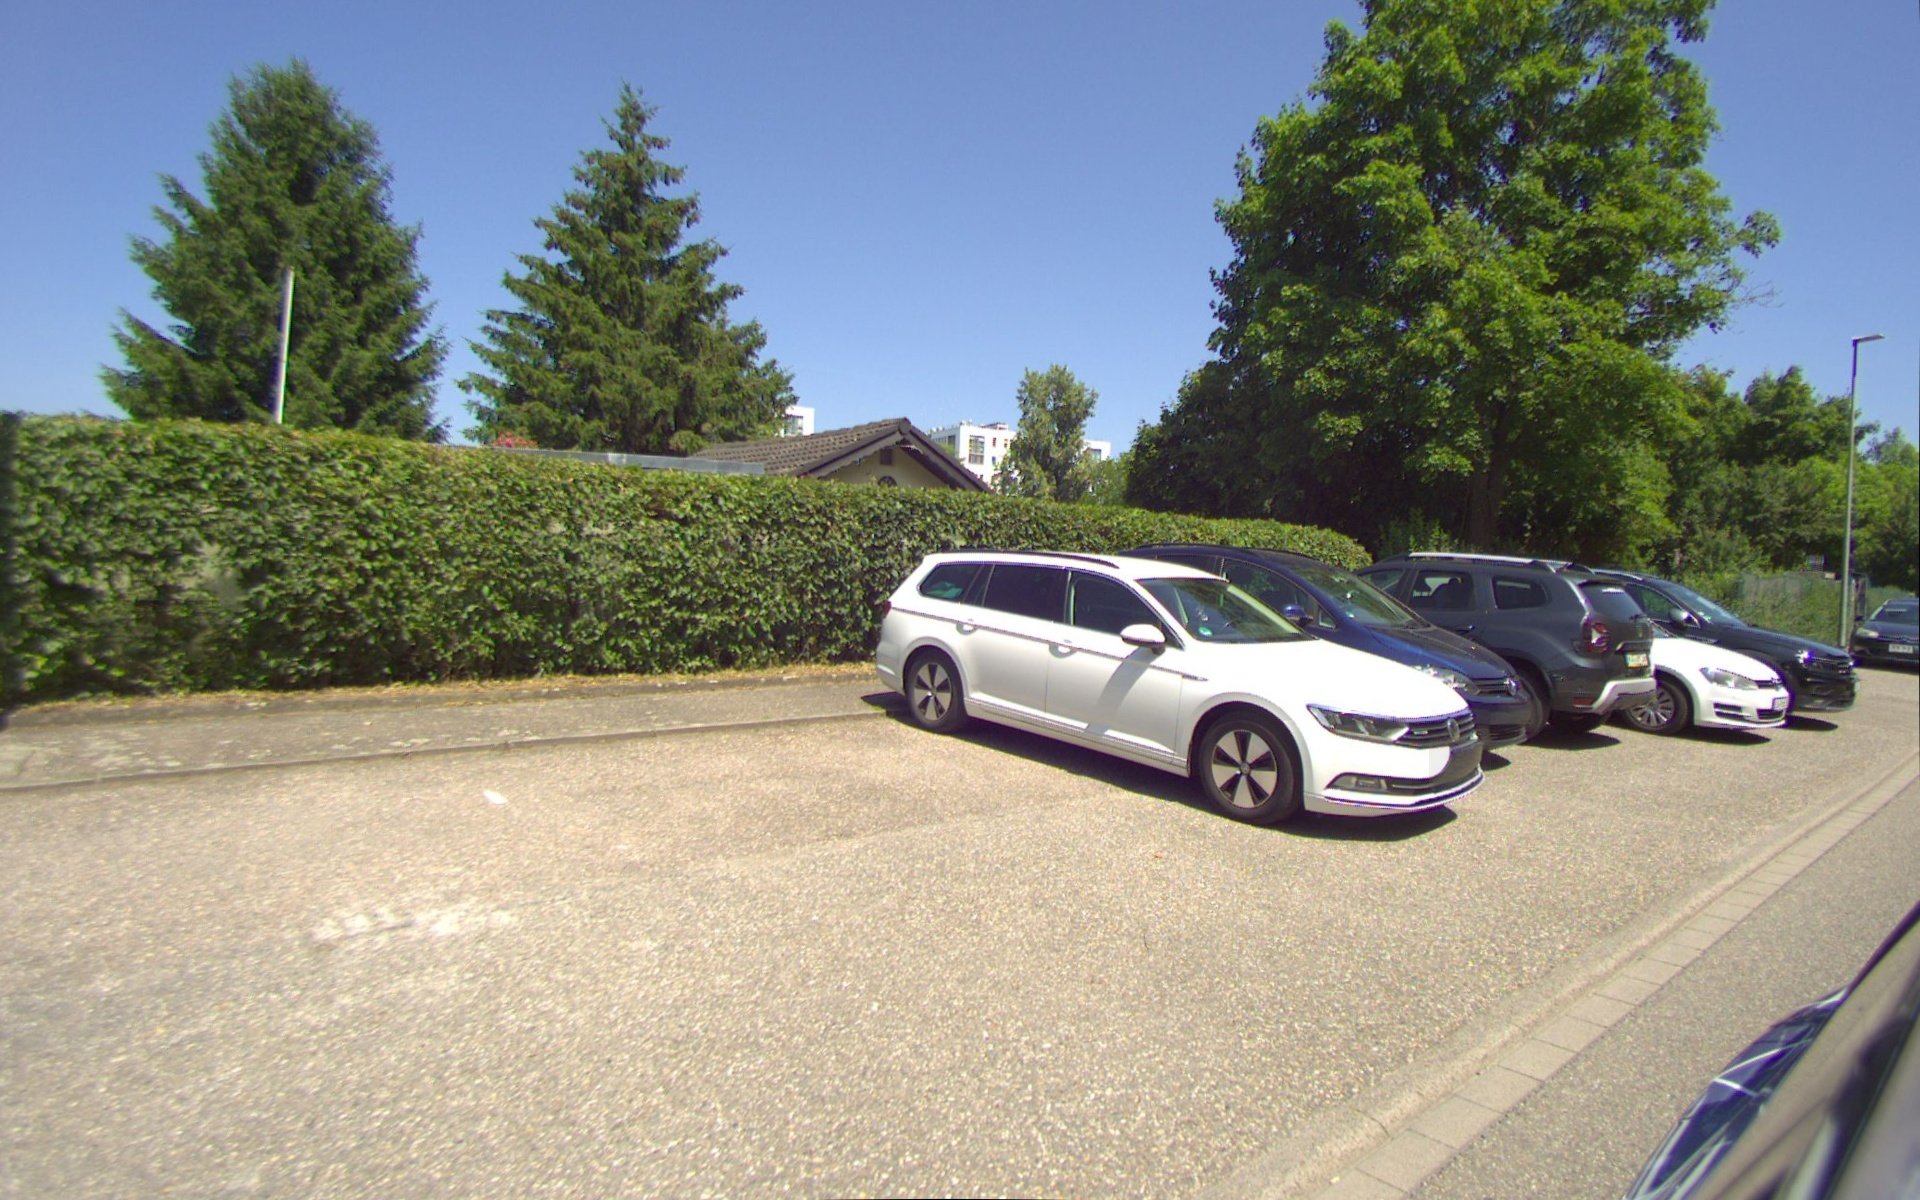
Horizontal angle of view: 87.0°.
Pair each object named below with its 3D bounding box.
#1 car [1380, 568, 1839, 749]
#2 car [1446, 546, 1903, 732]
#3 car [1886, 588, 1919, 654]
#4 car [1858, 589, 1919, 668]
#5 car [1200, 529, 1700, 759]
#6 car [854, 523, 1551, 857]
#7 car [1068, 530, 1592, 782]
[{"bbox_3d":[7.212,0.514,11.587,1.799,1.469,4.008,1,4,-40],"label":"car"},{"bbox_3d":[9.167,0.352,13.359,1.879,1.724,4.484,1,6,-40],"label":"car"},{"bbox_3d":[25.889,0.596,26.690,4.059,1.623,1.792,1,2,-43],"label":"car"},{"bbox_3d":[21.010,0.628,21.887,4.585,1.499,1.793,1,5,-43],"label":"car"},{"bbox_3d":[4.883,0.268,10.667,1.820,1.718,4.272,1,5,-38],"label":"car"},{"bbox_3d":[1.402,0.332,7.367,1.928,1.456,4.567,1,5,-43],"label":"car"},{"bbox_3d":[3.093,0.296,9.188,1.726,1.567,4.061,1,5,-40],"label":"car"}]
